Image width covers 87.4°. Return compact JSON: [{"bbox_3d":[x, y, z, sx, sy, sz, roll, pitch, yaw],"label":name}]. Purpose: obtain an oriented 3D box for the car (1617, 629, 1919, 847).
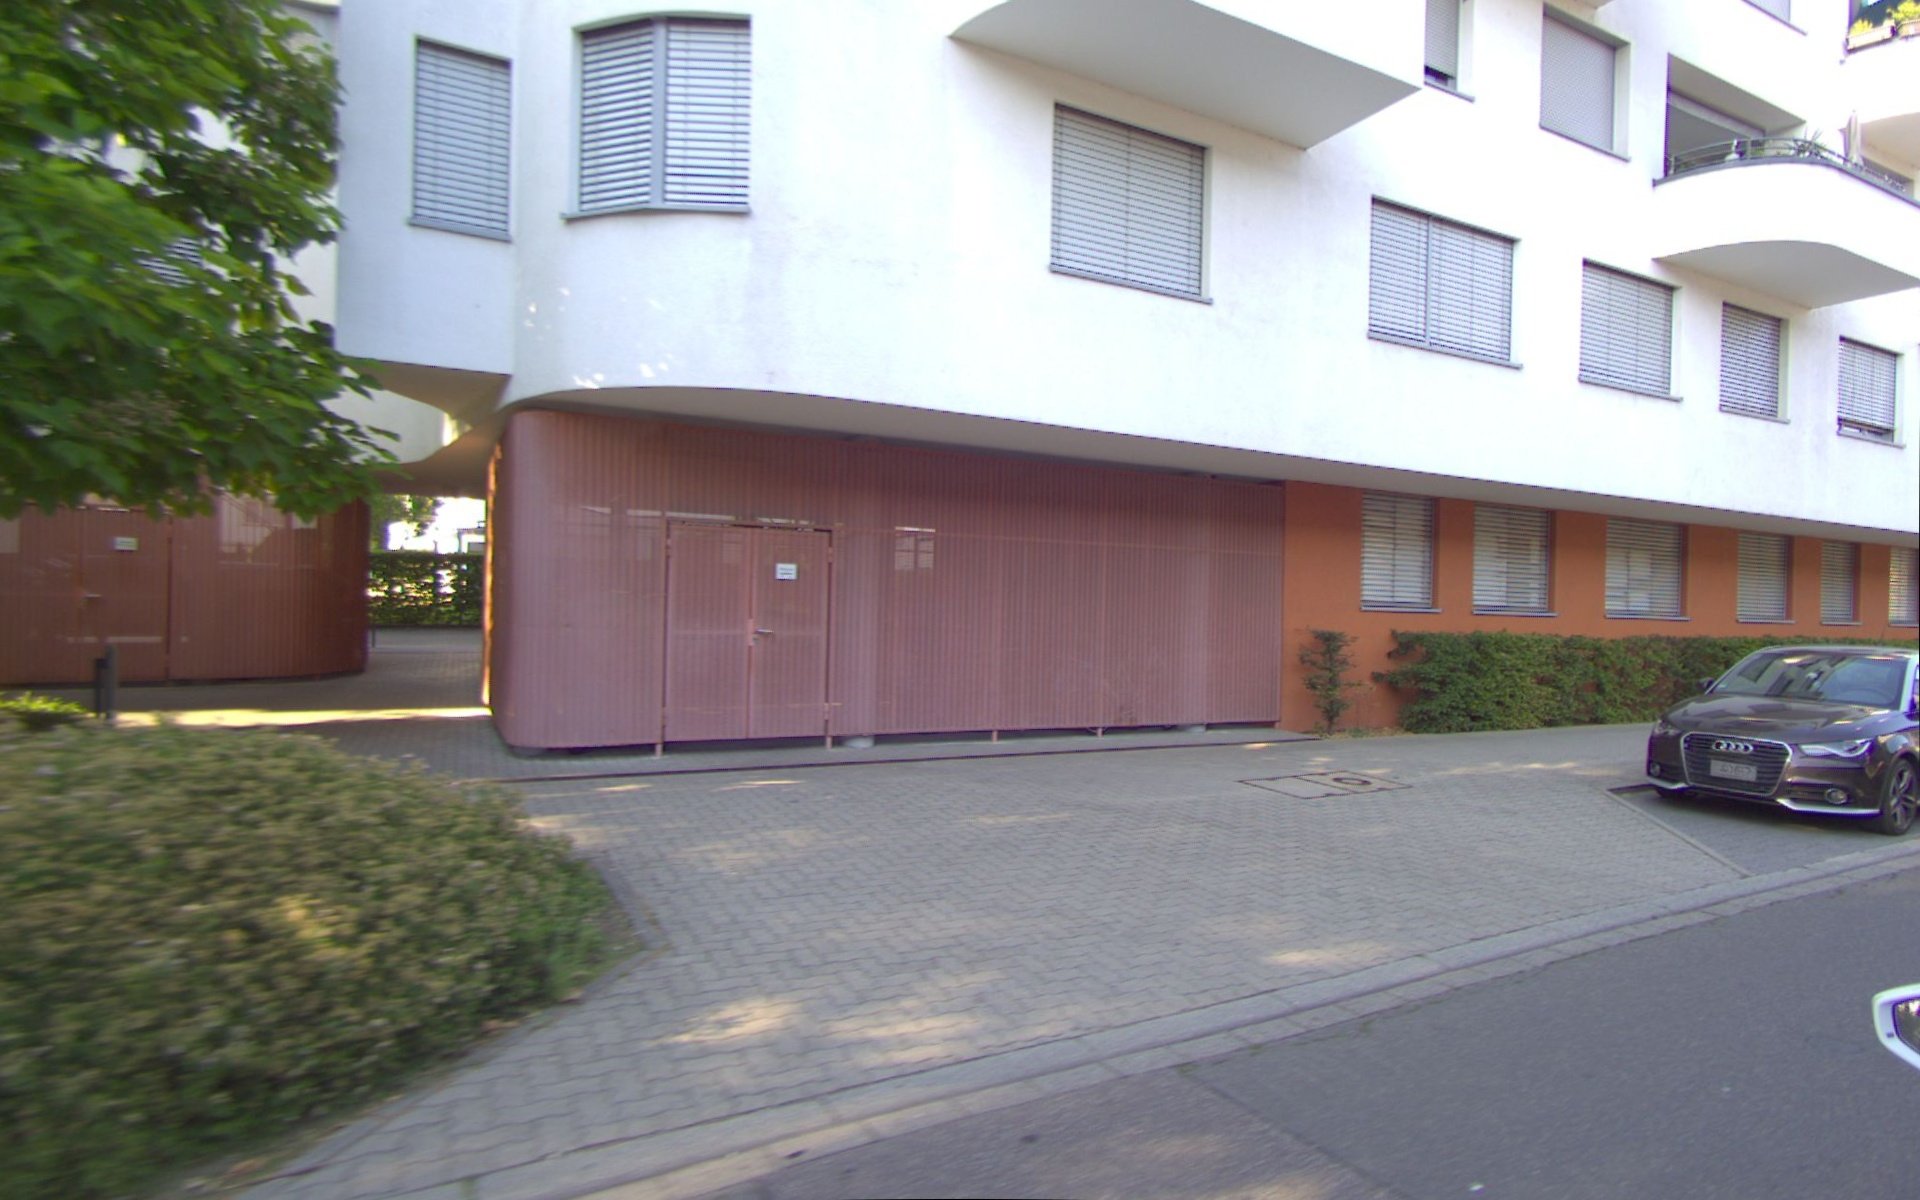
[{"bbox_3d":[7.728,1.077,8.891,3.727,1.452,1.666,2,2,-31],"label":"car"}]
